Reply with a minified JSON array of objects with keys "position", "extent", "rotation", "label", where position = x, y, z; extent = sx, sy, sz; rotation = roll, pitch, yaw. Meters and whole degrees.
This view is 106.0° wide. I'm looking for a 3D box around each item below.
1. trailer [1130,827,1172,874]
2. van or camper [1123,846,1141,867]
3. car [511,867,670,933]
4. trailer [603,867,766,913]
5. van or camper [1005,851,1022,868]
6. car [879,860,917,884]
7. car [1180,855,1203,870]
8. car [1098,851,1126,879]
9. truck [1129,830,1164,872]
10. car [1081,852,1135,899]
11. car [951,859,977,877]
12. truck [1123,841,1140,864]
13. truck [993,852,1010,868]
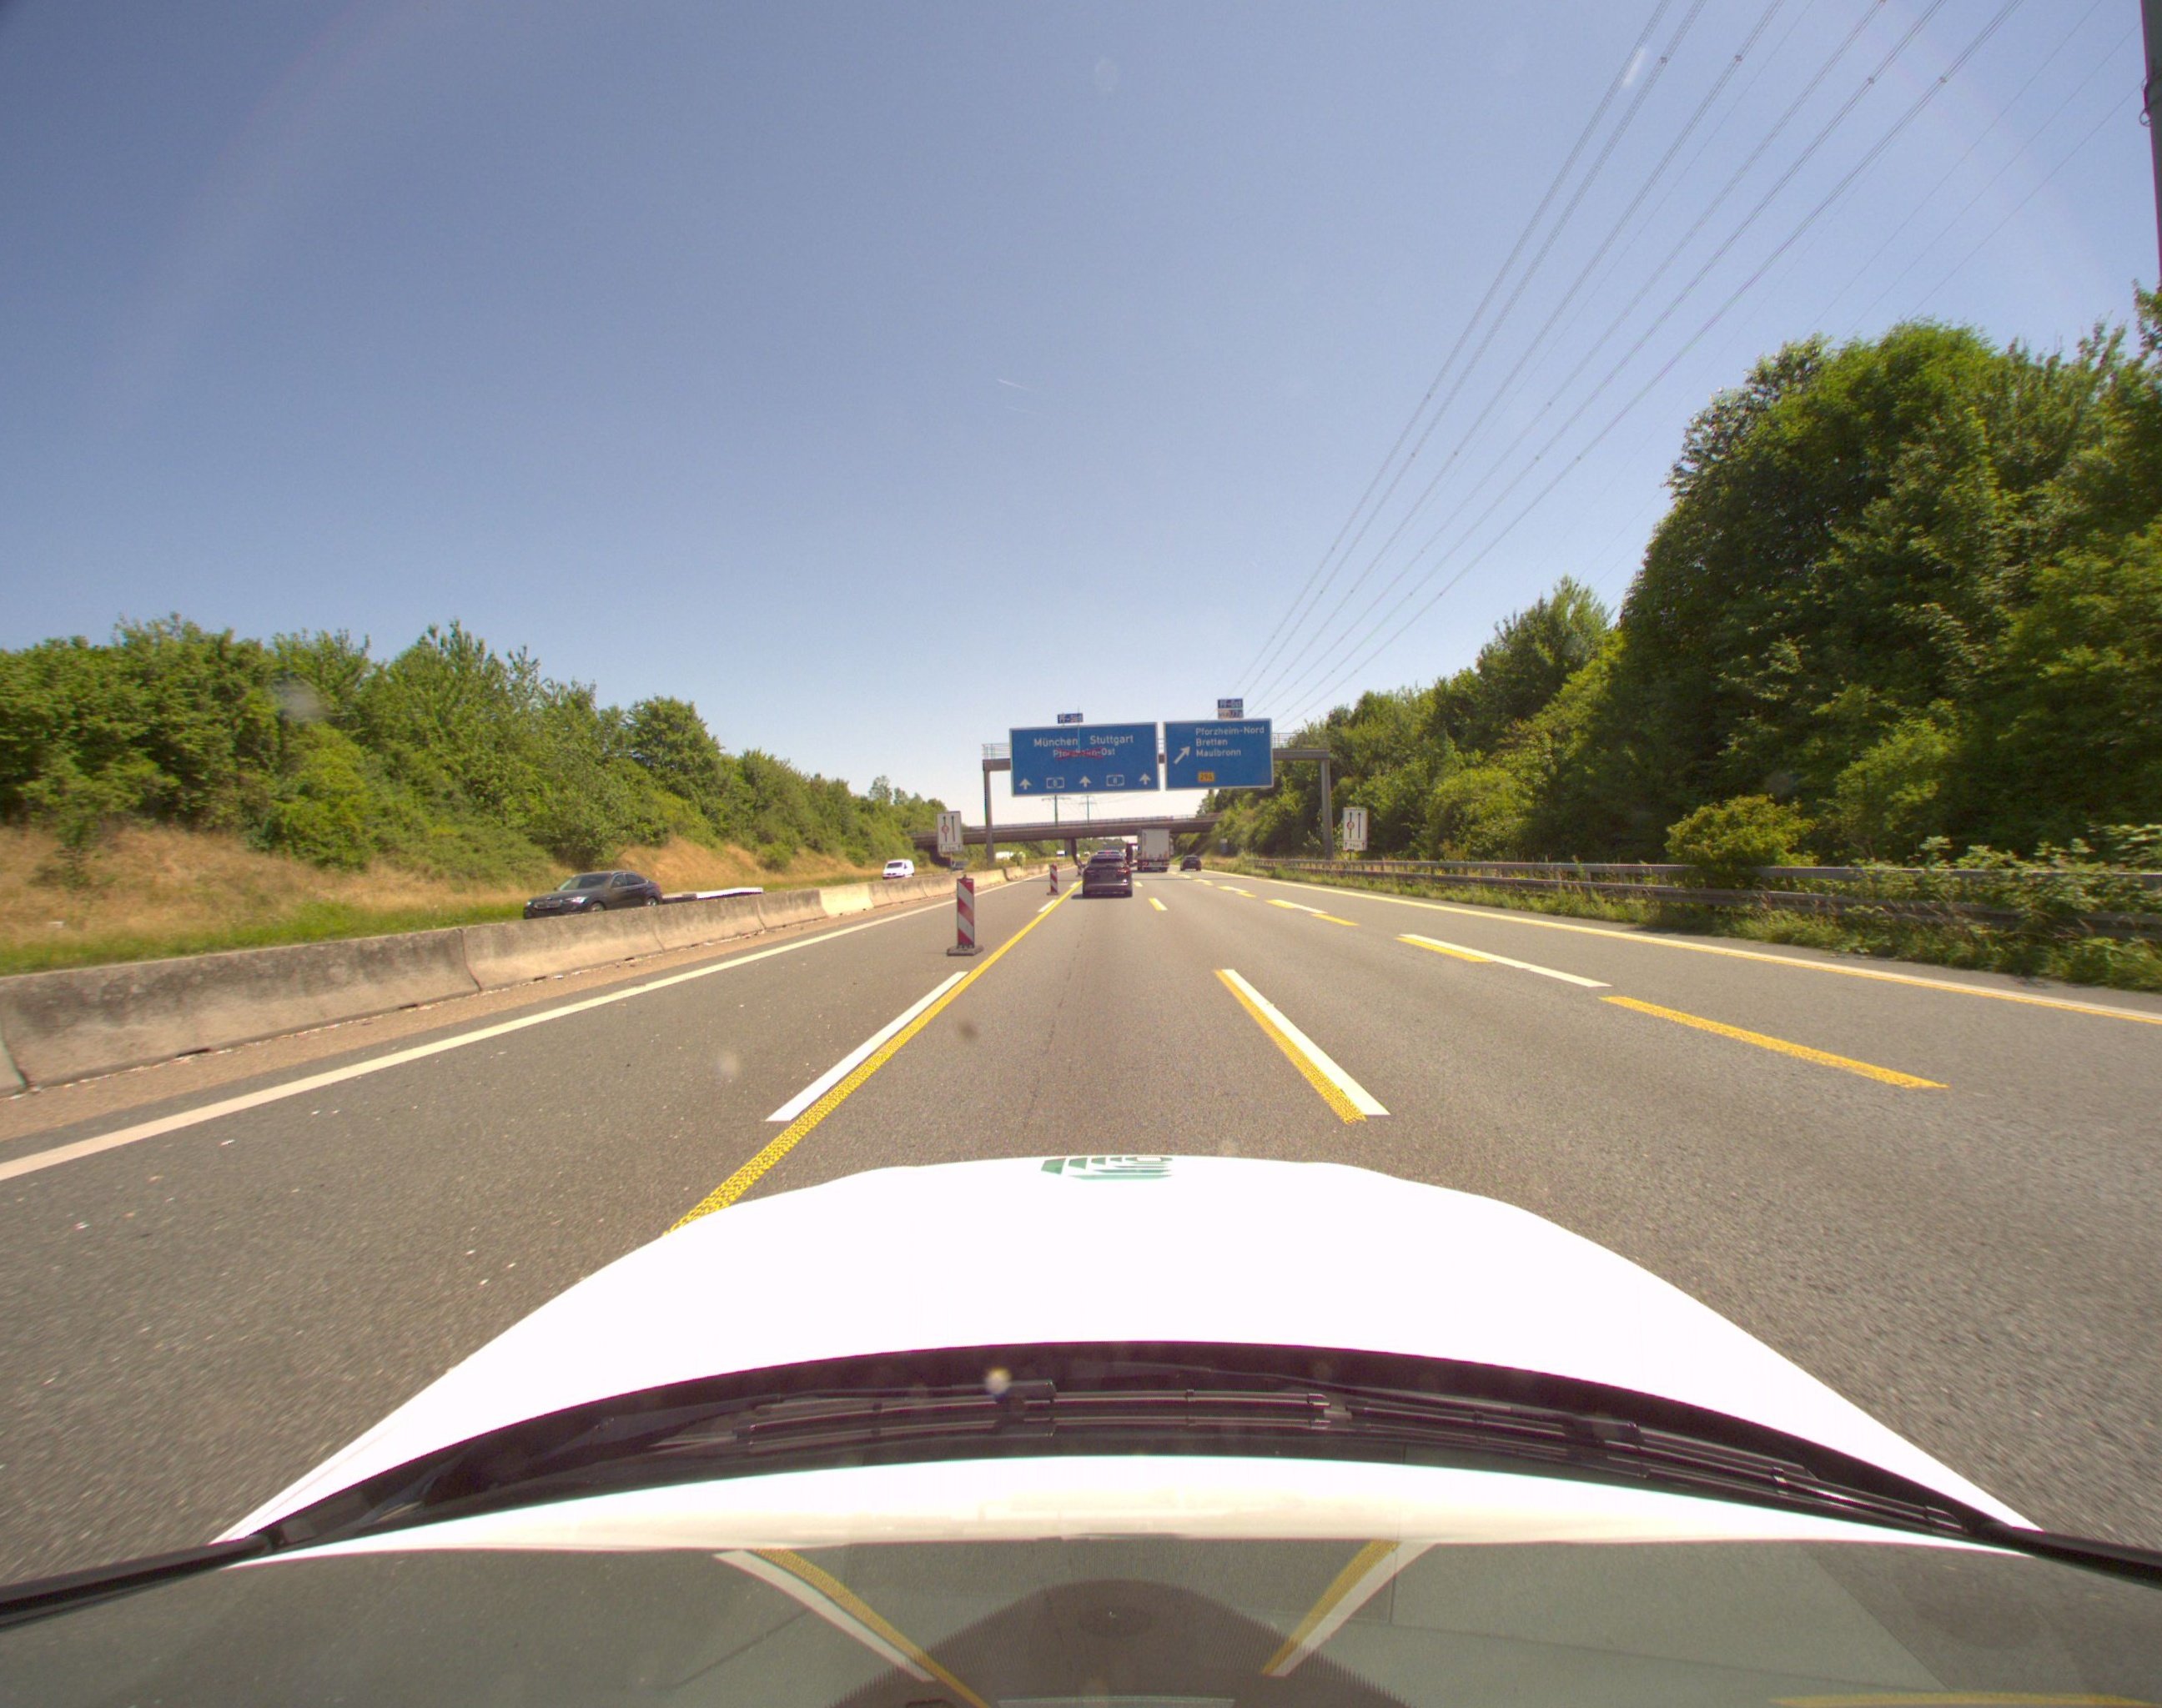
[{"position":[6.488,-0.325,77.057],"extent":[3.055,4.042,11.487],"rotation":[-1,0,1],"label":"trailer"},{"position":[7.596,0.378,121.463],"extent":[2.576,2.968,6.089],"rotation":[1,0,3],"label":"van or camper"},{"position":[-14.571,1.293,24.563],"extent":[1.906,1.753,4.567],"rotation":[-1,0,2],"label":"car"},{"position":[-14.525,1.255,30.573],"extent":[2.347,1.344,7.220],"rotation":[-2,0,2],"label":"trailer"},{"position":[-13.423,1.069,162.476],"extent":[2.426,3.147,7.630],"rotation":[-2,0,2],"label":"van or camper"},{"position":[-16.712,1.593,74.620],"extent":[1.923,2.013,5.598],"rotation":[-2,0,2],"label":"car"},{"position":[10.642,0.807,78.872],"extent":[1.772,1.489,4.465],"rotation":[0,0,2],"label":"car"},{"position":[2.143,0.742,57.564],"extent":[1.889,1.841,4.444],"rotation":[1,1,1],"label":"car"},{"position":[6.657,-0.264,83.643],"extent":[3.014,4.087,7.796],"rotation":[-1,0,1],"label":"truck"},{"position":[1.000,0.764,31.034],"extent":[1.889,1.592,4.443],"rotation":[-1,0,1],"label":"car"},{"position":[-12.127,1.440,84.802],"extent":[1.865,1.694,4.500],"rotation":[-2,0,2],"label":"car"},{"position":[9.784,-0.259,157.890],"extent":[3.065,4.146,13.064],"rotation":[0,0,3],"label":"truck"},{"position":[-16.118,1.193,165.315],"extent":[2.486,3.259,6.367],"rotation":[-2,0,2],"label":"truck"}]
